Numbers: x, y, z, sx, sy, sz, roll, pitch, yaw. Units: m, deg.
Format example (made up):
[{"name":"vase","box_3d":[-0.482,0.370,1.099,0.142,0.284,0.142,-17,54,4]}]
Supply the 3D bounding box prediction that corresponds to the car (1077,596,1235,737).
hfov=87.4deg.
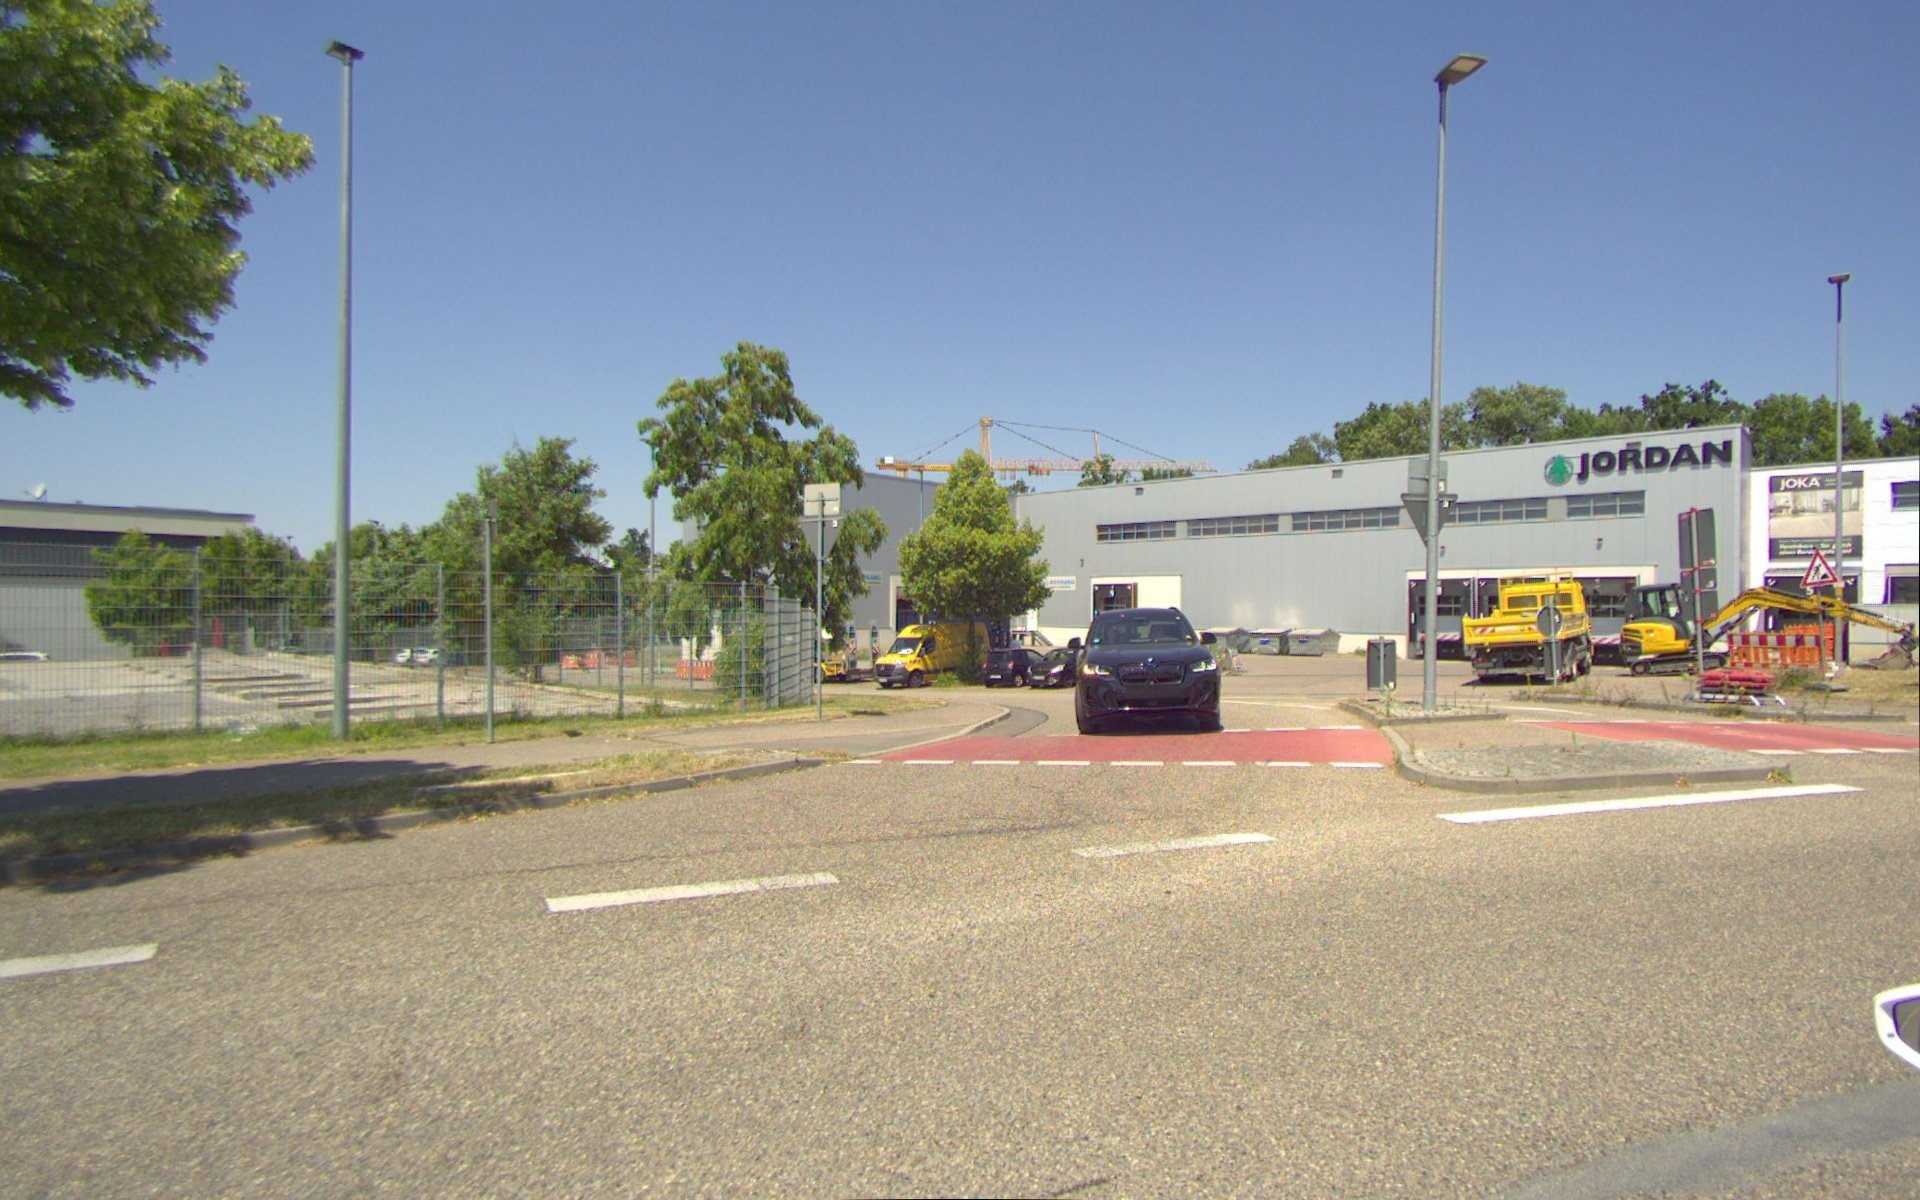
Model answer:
[{"name":"car","box_3d":[2.666,0.924,14.594,1.832,1.655,4.603,-3,-3,7]}]

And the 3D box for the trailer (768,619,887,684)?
[{"name":"trailer","box_3d":[-6.420,2.465,48.394,5.437,2.895,2.653,-2,-1,39]}]

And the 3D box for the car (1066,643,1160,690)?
[{"name":"car","box_3d":[5.622,2.396,36.682,1.604,1.482,3.651,-3,-1,43]}]

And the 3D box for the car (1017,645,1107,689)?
[{"name":"car","box_3d":[3.938,2.521,38.456,1.567,1.527,3.764,-3,-3,40]}]

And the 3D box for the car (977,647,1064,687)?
[{"name":"car","box_3d":[2.462,2.644,40.310,1.604,1.498,3.596,-2,-3,41]}]

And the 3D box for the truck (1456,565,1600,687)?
[{"name":"truck","box_3d":[16.767,0.706,29.442,2.556,3.177,6.396,-4,-1,38]}]

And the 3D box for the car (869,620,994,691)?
[{"name":"car","box_3d":[-1.137,2.287,43.267,1.971,2.769,5.768,-1,-1,41]}]

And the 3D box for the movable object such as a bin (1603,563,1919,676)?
[{"name":"movable object such as a bin","box_3d":[20.877,0.629,26.285,1.985,2.614,6.499,2,-4,-42]}]
